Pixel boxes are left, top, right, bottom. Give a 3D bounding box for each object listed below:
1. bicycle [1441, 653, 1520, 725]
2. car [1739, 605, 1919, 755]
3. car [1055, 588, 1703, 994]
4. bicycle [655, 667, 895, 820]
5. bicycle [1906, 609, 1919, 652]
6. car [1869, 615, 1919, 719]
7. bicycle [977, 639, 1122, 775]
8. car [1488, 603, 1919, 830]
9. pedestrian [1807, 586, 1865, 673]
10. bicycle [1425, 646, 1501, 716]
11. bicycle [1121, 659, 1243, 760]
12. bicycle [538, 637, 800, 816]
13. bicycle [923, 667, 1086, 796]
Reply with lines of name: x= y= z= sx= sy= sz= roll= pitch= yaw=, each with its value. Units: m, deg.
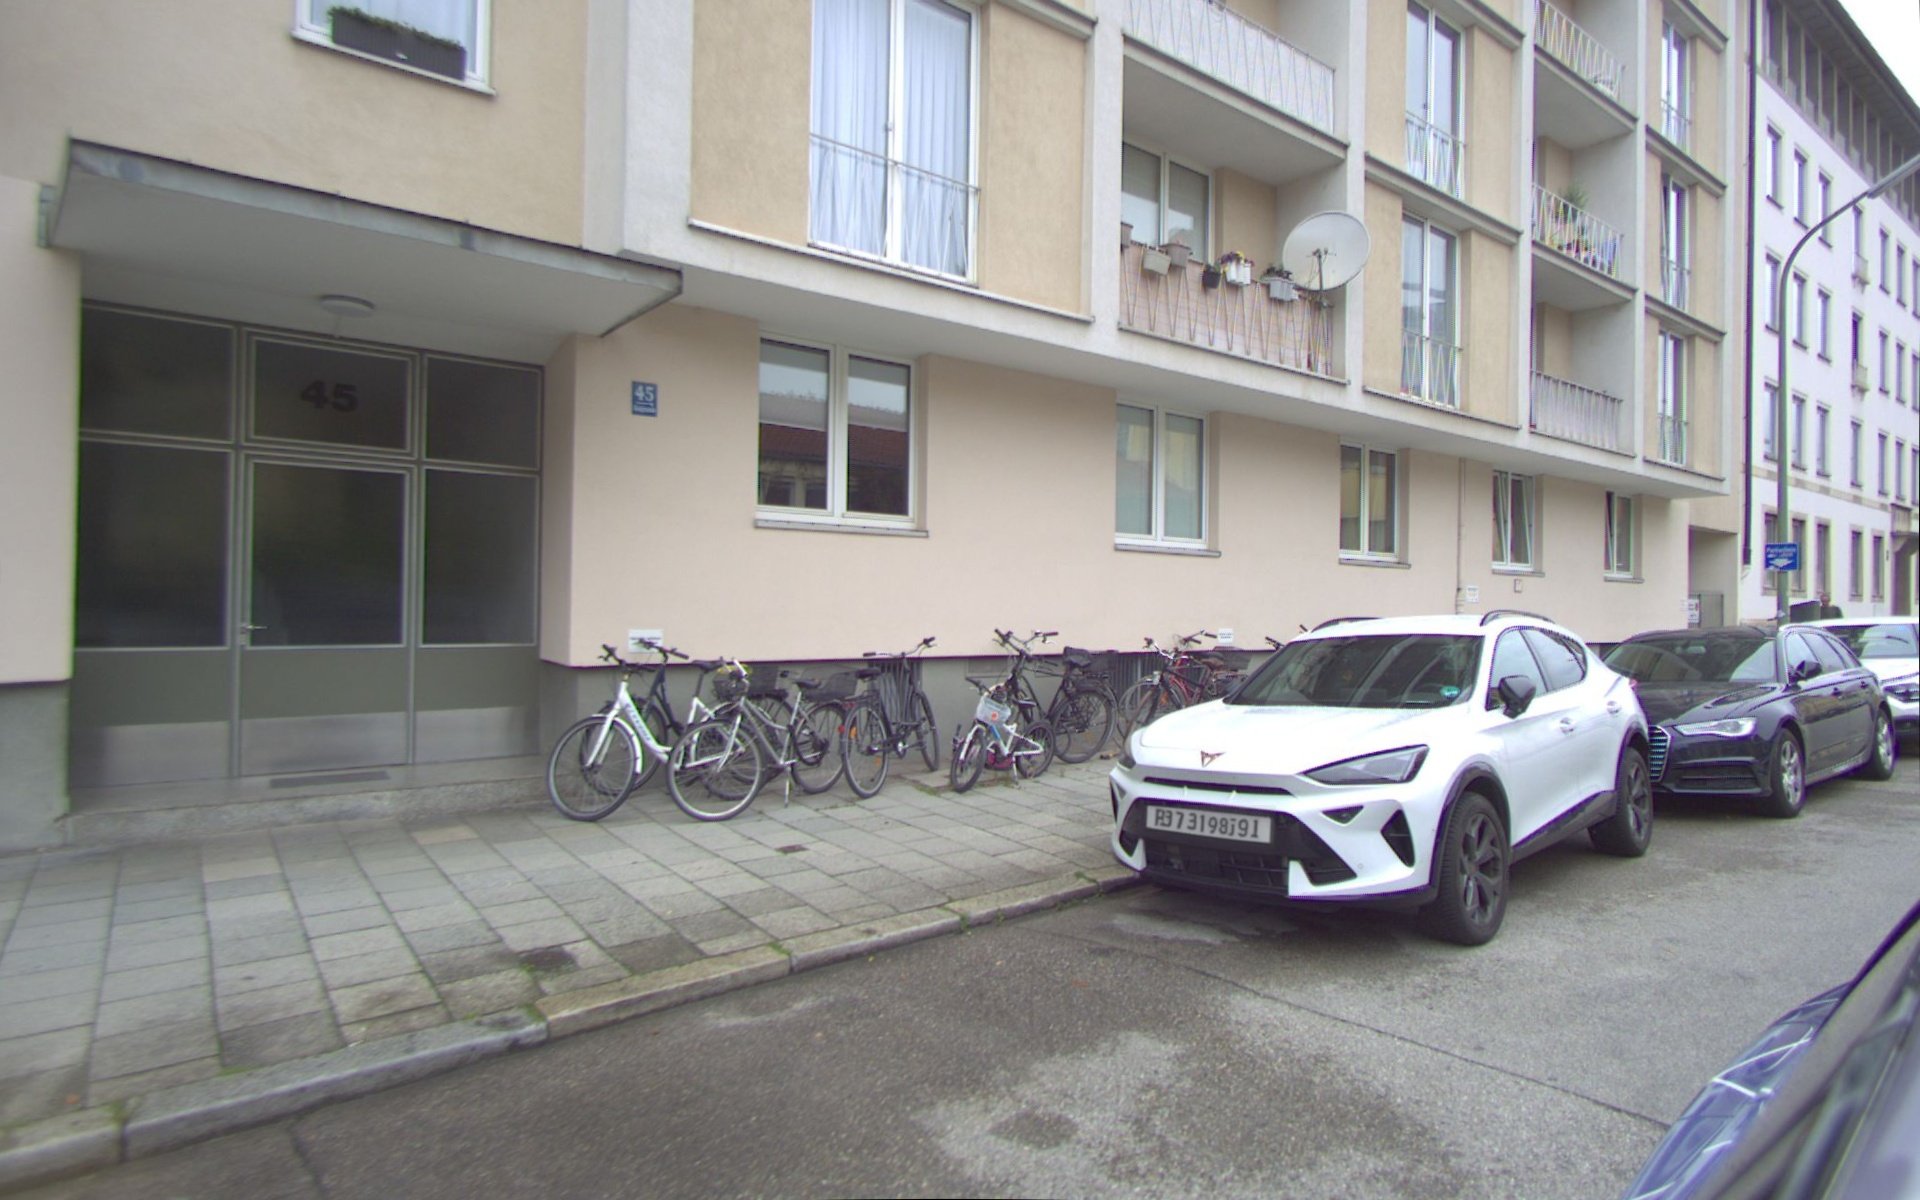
bicycle: x=7.120 y=1.194 z=13.820 sx=1.365 sy=0.916 sz=0.379 roll=1 pitch=-1 yaw=-36
car: x=11.030 y=0.862 z=12.077 sx=4.496 sy=1.508 sz=1.698 roll=1 pitch=-2 yaw=-38
car: x=2.793 y=0.805 z=6.114 sx=4.567 sy=1.553 sz=1.787 roll=1 pitch=-3 yaw=-42
bicycle: x=-1.302 y=0.990 z=7.379 sx=1.704 sy=0.935 sz=0.456 roll=1 pitch=-1 yaw=-39
bicycle: x=28.242 y=0.901 z=29.745 sx=1.955 sy=1.238 sz=0.513 roll=2 pitch=-1 yaw=-43
car: x=15.031 y=0.933 z=14.818 sx=4.863 sy=1.406 sz=1.749 roll=1 pitch=-2 yaw=-38
bicycle: x=0.821 y=0.921 z=9.074 sx=1.365 sy=1.134 sz=0.379 roll=2 pitch=-1 yaw=-36
car: x=7.025 y=0.882 z=9.186 sx=5.066 sy=1.542 sz=1.884 roll=1 pitch=-4 yaw=-36
pedestrian: x=18.642 y=0.601 z=21.539 sx=0.888 sy=1.785 sz=0.725 roll=-2 pitch=1 yaw=-35
bicycle: x=7.164 y=1.134 z=14.390 sx=1.365 sy=0.916 sz=0.379 roll=1 pitch=-1 yaw=-36
bicycle: x=2.251 y=1.075 z=10.189 sx=1.365 sy=0.916 sz=0.379 roll=1 pitch=-1 yaw=-36
bicycle: x=-2.090 y=0.864 z=7.447 sx=1.821 sy=1.124 sz=0.456 roll=0 pitch=0 yaw=-39
bicycle: x=0.382 y=1.030 z=8.174 sx=1.365 sy=0.916 sz=0.379 roll=1 pitch=-1 yaw=-36
